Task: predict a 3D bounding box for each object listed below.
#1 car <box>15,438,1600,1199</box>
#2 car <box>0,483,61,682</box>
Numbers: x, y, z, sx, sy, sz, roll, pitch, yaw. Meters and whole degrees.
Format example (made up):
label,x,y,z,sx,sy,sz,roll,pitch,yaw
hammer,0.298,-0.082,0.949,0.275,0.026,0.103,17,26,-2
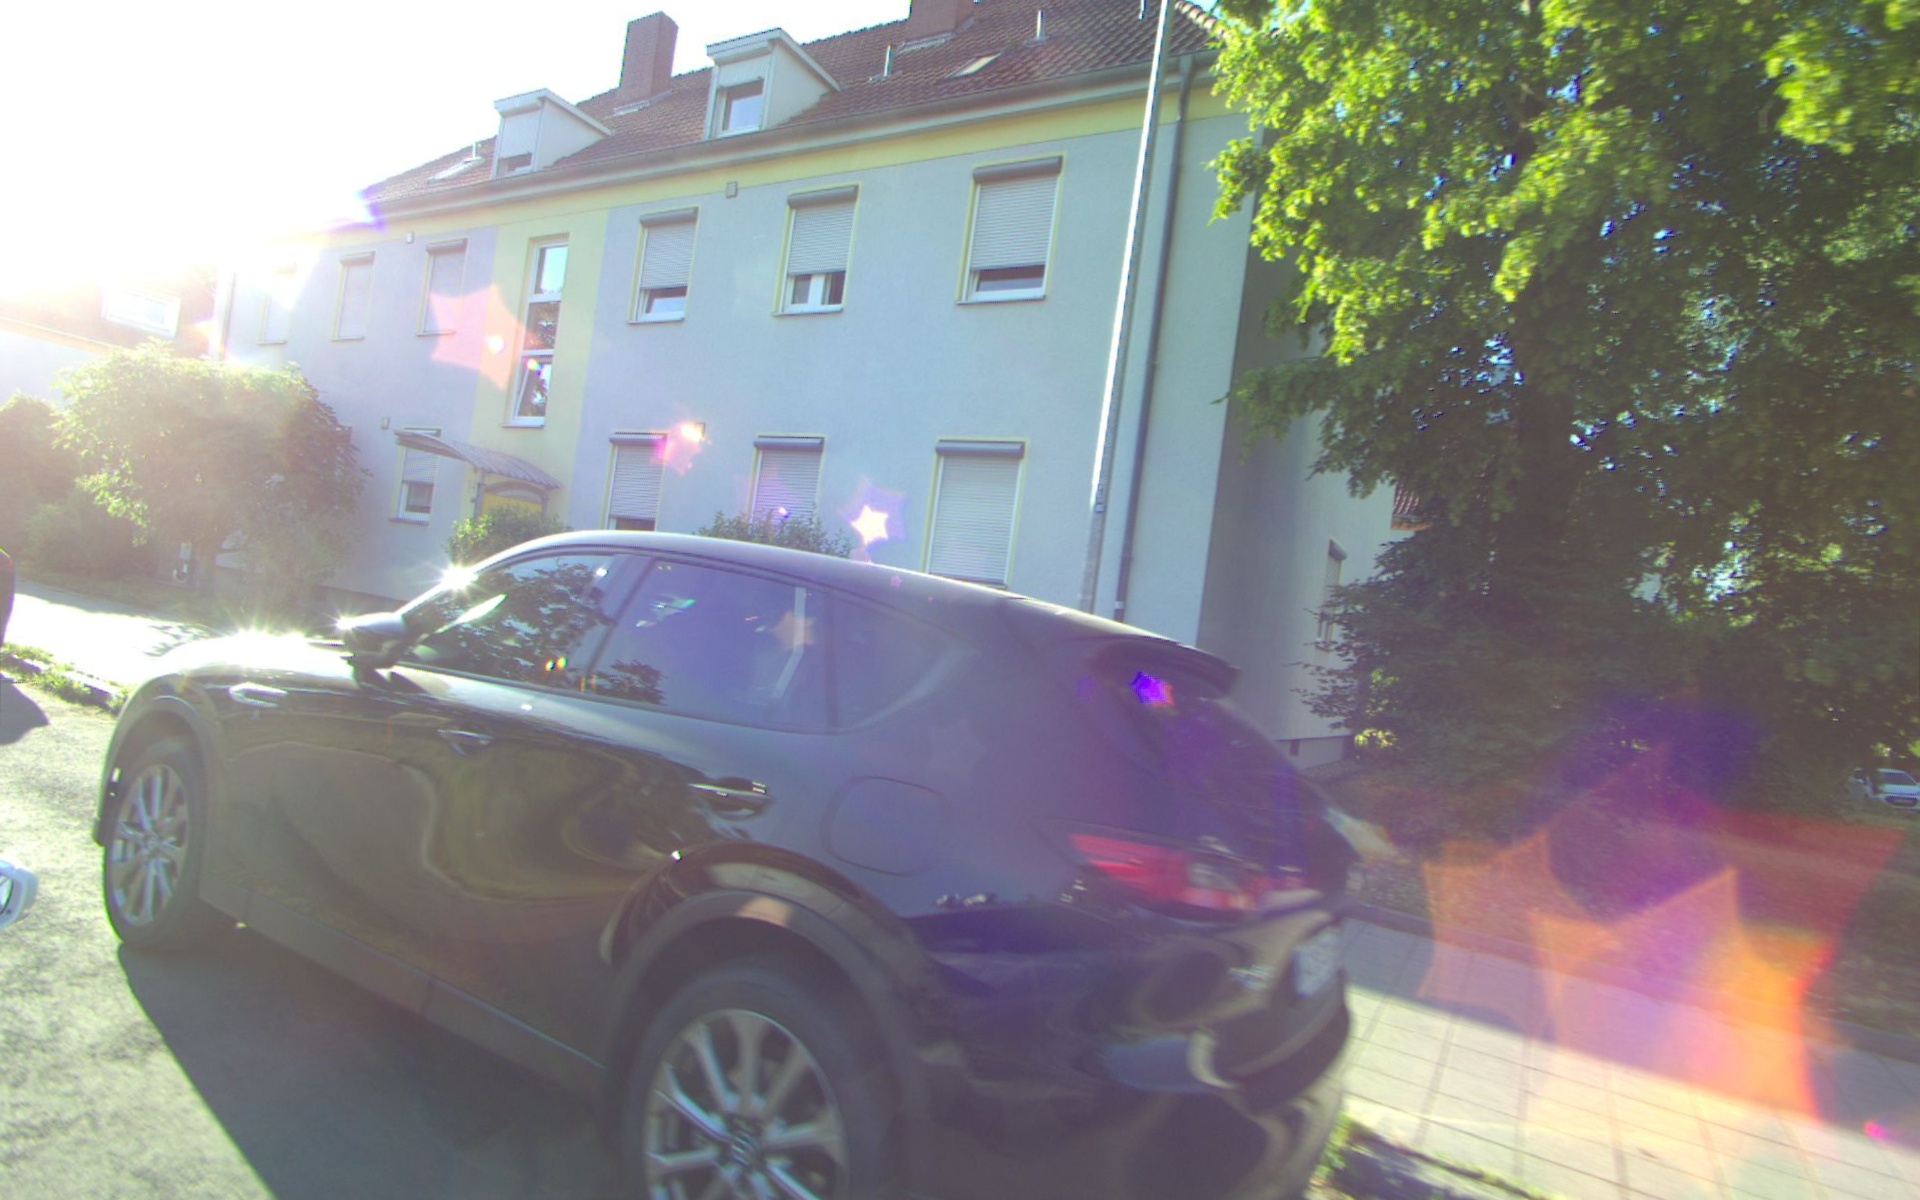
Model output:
label,x,y,z,sx,sy,sz,roll,pitch,yaw
car,-0.913,0.579,3.378,4.948,1.749,1.839,6,-5,31
car,-10.804,-0.486,9.556,4.544,1.738,1.940,7,-5,31
